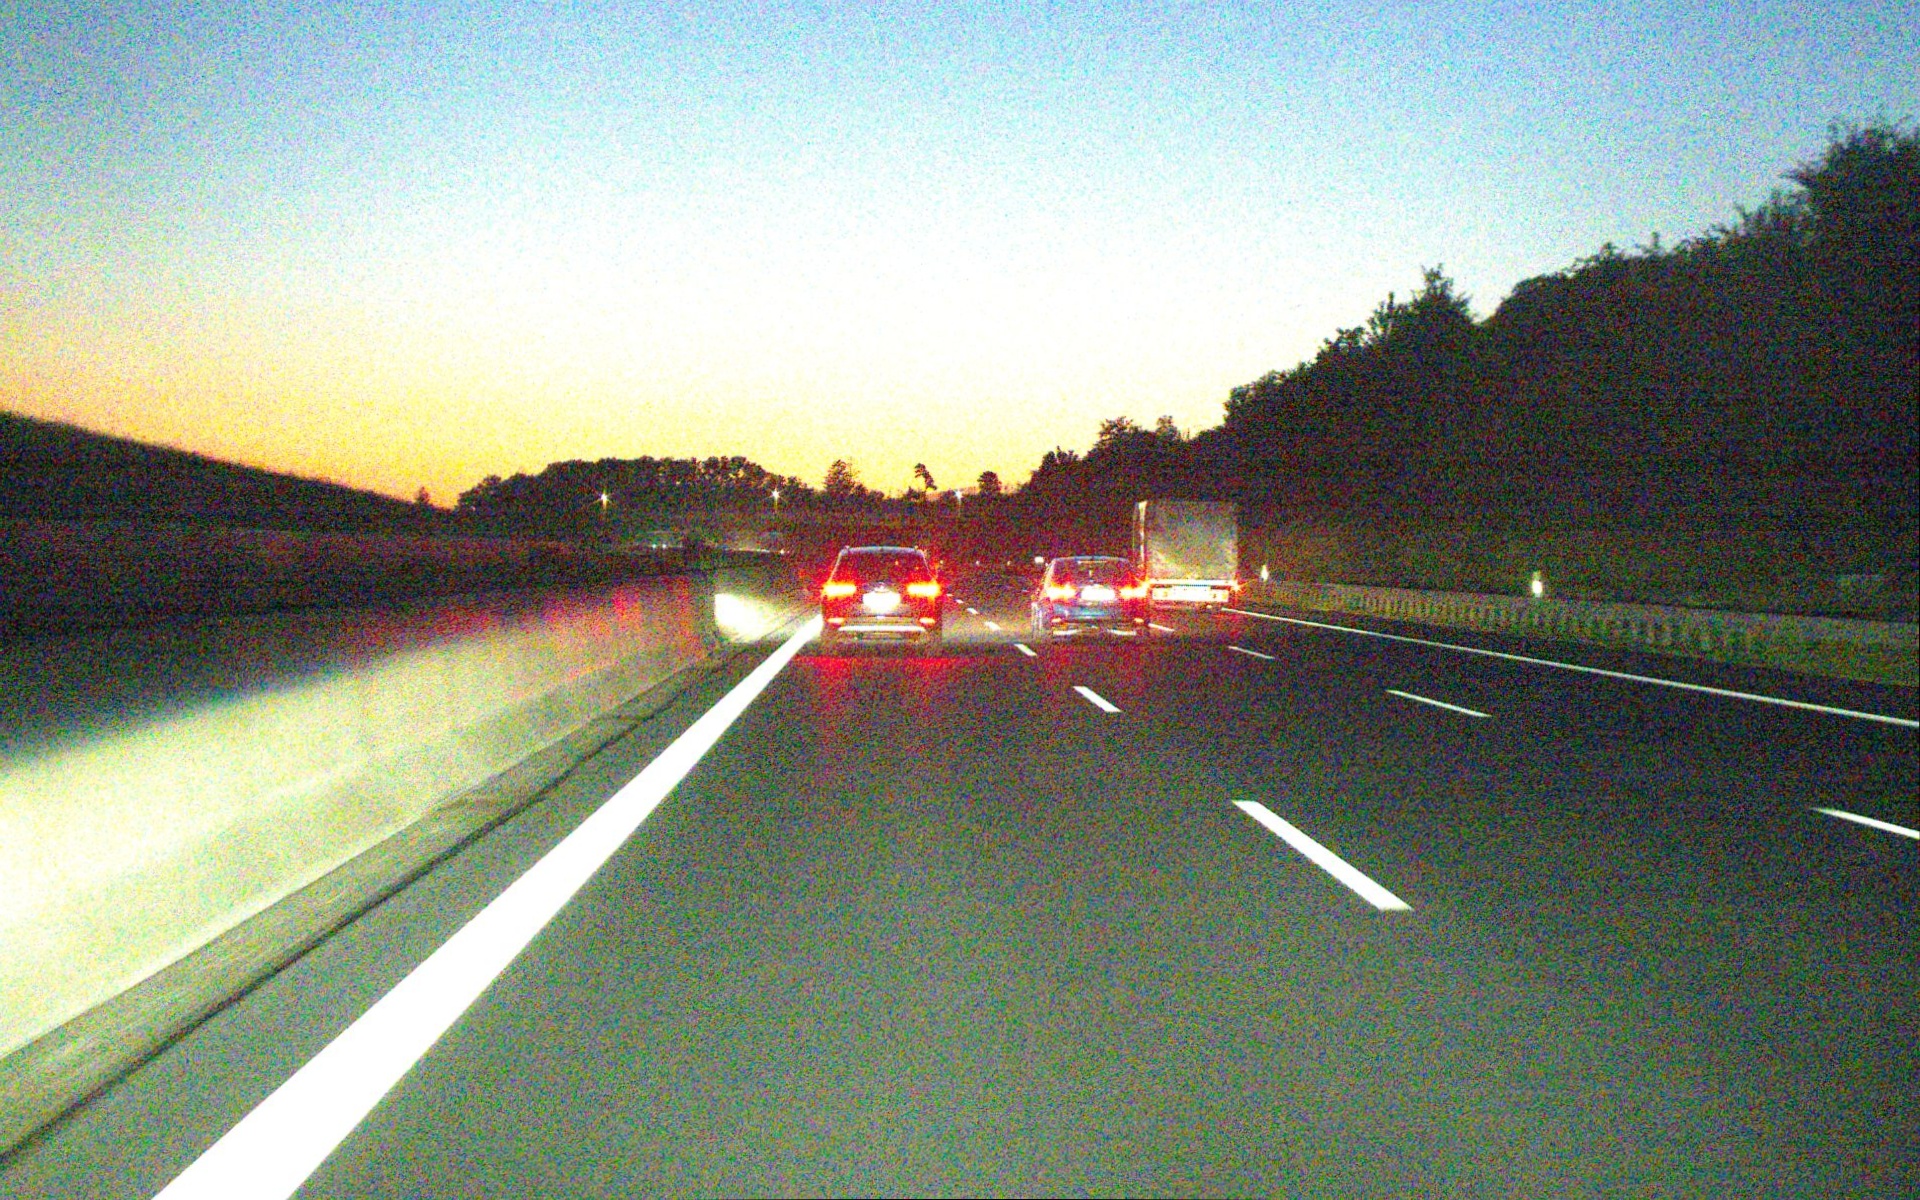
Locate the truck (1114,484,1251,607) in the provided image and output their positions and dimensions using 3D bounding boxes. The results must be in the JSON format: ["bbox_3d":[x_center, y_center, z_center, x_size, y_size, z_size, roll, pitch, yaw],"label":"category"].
[{"bbox_3d":[5.853,-1.453,91.639,2.603,2.865,7.486,7,1,-2],"label":"truck"}]

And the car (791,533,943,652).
[{"bbox_3d":[-1.404,-0.133,50.881,2.105,1.612,4.205,2,1,-2],"label":"car"}]

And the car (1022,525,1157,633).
[{"bbox_3d":[2.148,-0.369,58.195,1.911,1.724,4.000,1,1,-3],"label":"car"}]
